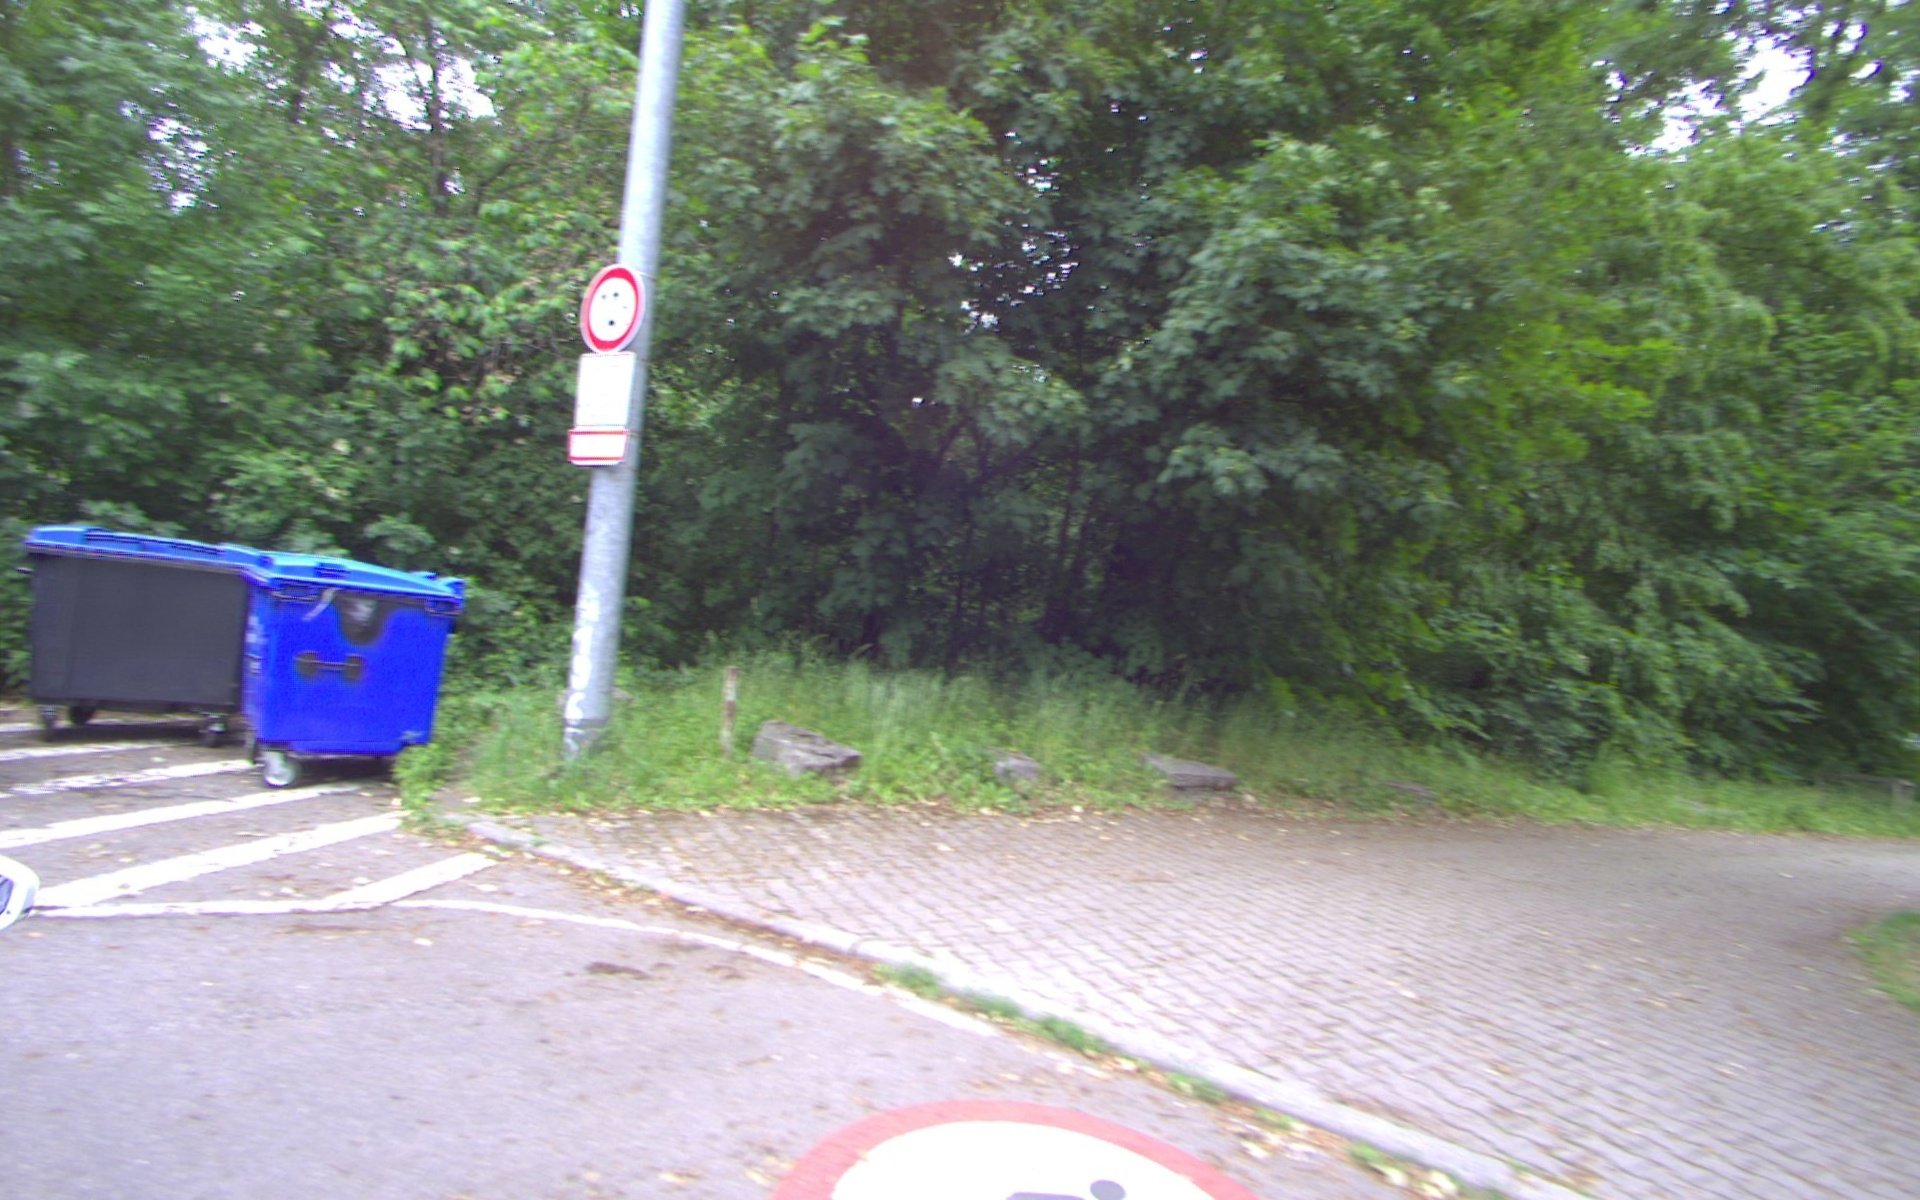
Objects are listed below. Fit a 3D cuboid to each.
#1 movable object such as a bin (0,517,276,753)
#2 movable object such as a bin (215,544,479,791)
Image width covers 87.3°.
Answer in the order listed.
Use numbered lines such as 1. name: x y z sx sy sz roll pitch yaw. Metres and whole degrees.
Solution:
1. movable object such as a bin: -5.388 0.233 6.675 1.227 1.336 1.118 7 -1 -32
2. movable object such as a bin: -3.861 0.403 6.311 1.138 1.340 1.243 7 -1 -40
